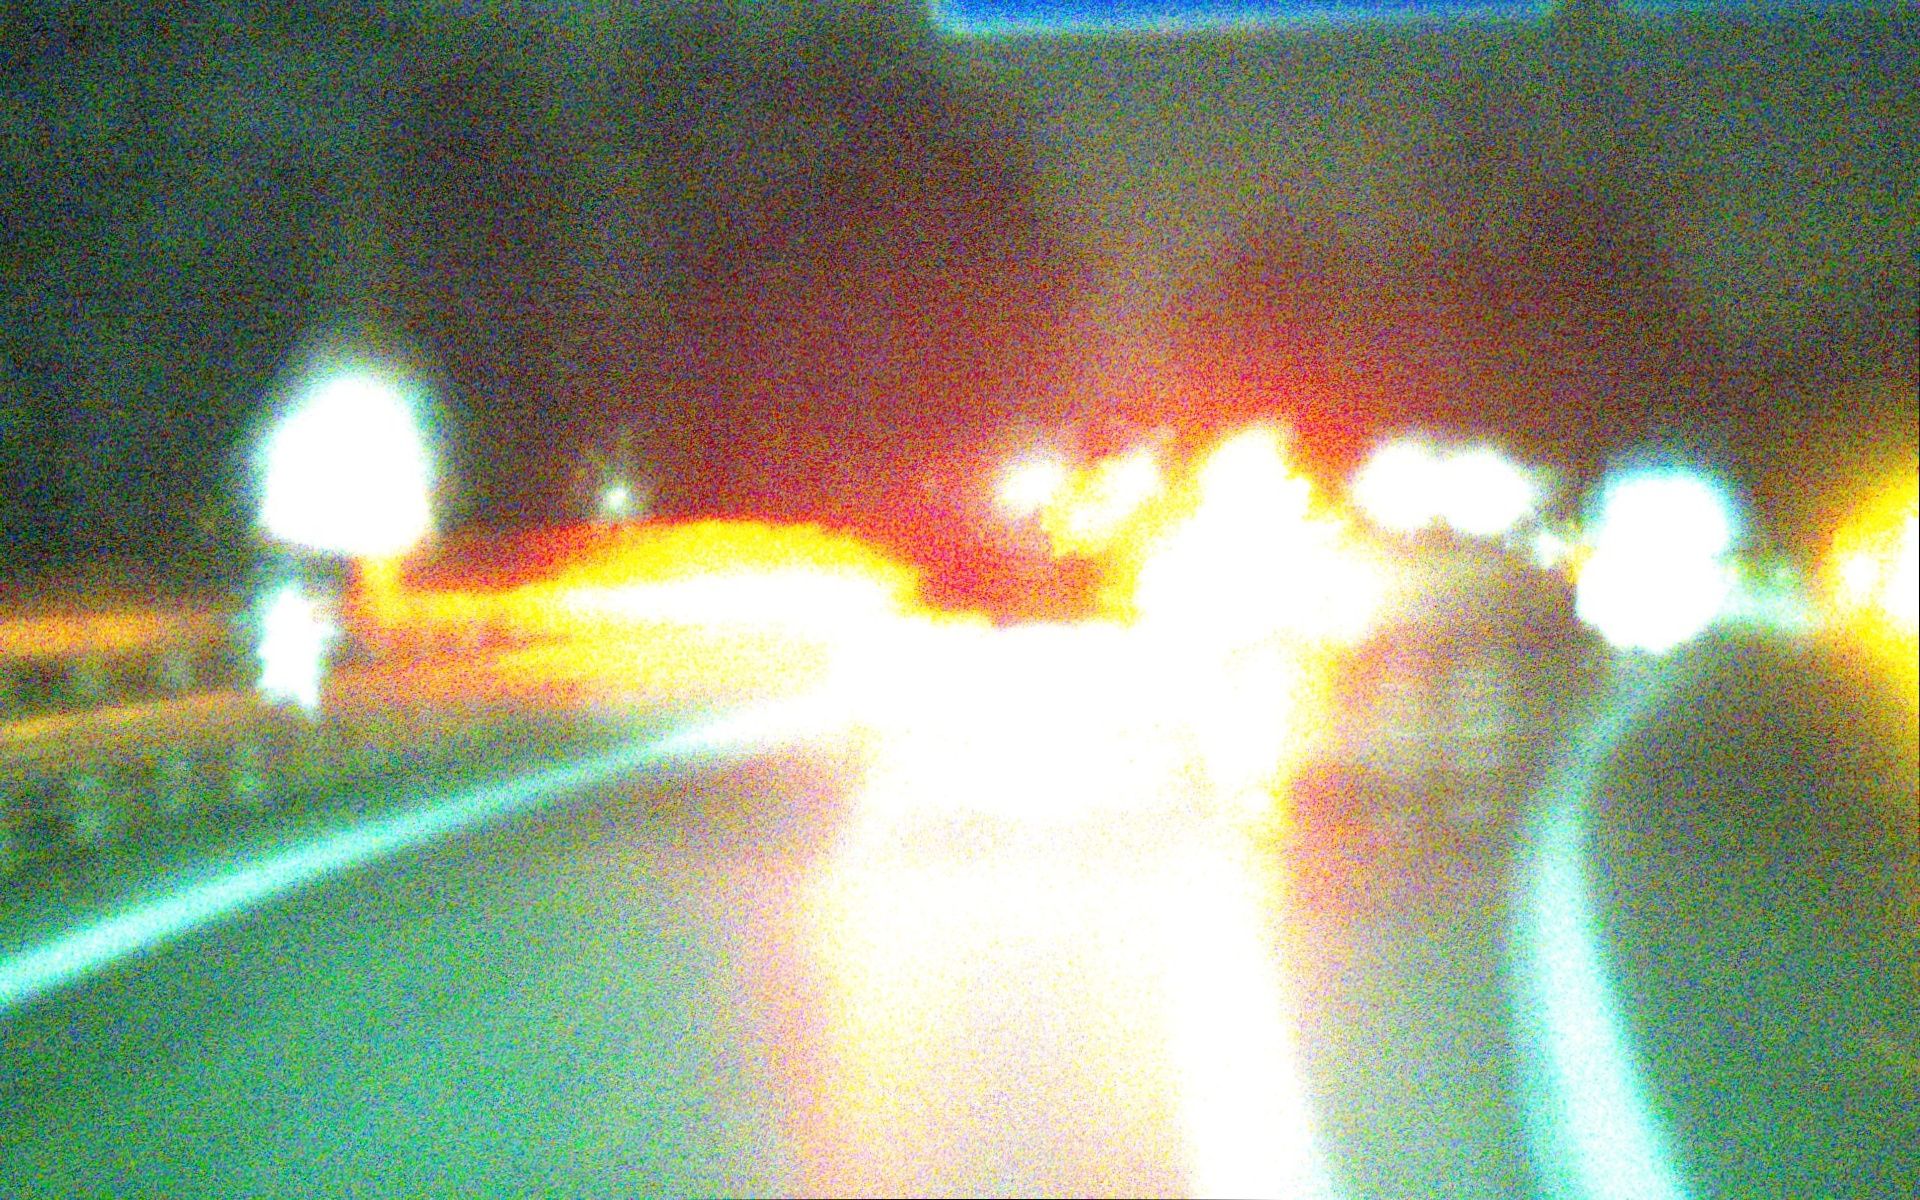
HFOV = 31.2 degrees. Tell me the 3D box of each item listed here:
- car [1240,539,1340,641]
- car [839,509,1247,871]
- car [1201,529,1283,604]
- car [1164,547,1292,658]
[{"bbox_3d":[6.843,-0.184,71.061,1.896,2.033,4.044,0,0,8],"label":"car"},{"bbox_3d":[0.410,0.376,18.007,1.860,1.641,4.069,1,1,1],"label":"car"},{"bbox_3d":[7.648,-0.898,93.526,1.895,1.991,4.045,0,0,0],"label":"car"},{"bbox_3d":[4.358,0.049,55.393,1.896,1.715,4.044,0,0,7],"label":"car"}]
